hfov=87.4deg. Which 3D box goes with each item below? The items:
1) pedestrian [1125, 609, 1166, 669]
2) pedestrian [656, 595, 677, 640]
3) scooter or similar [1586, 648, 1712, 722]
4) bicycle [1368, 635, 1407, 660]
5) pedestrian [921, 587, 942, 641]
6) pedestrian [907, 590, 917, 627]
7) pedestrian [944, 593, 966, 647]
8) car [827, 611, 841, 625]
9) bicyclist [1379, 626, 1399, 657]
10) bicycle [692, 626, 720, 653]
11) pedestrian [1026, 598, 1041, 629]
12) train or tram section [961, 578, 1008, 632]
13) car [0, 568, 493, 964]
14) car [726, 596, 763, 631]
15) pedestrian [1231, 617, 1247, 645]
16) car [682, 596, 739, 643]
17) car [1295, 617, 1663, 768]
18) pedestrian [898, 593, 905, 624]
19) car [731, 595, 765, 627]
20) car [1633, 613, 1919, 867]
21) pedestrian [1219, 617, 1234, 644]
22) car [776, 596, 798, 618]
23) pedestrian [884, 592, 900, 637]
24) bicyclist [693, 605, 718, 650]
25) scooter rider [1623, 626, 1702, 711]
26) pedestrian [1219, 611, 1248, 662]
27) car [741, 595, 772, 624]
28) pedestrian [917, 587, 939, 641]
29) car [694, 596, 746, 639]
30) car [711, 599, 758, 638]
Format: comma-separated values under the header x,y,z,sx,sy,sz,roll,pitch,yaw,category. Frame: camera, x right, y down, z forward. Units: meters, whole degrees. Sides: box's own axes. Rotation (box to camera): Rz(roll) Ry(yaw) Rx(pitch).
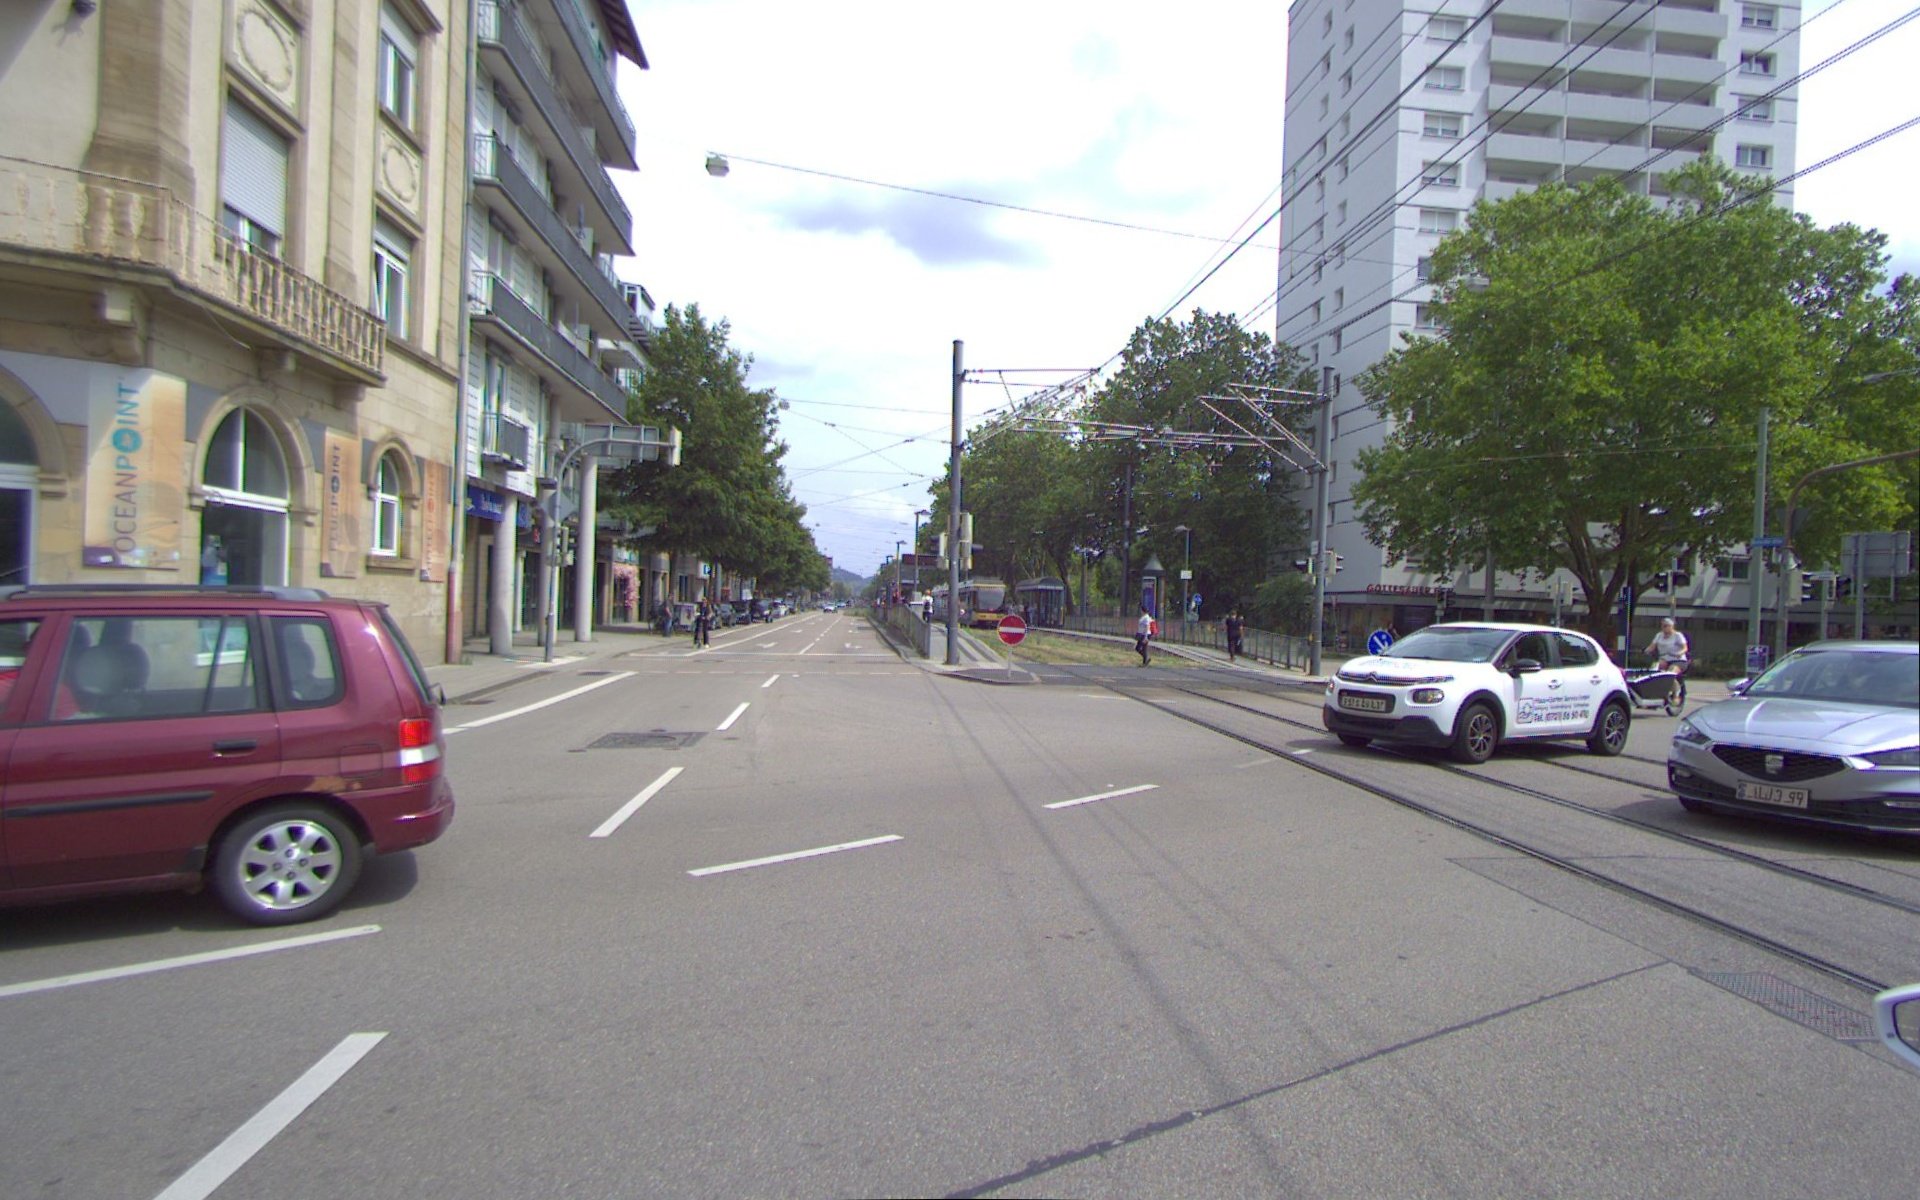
x,y,z,sx,sy,sz,roll,pitch,yaw,category
4.972,1.041,26.975,0.852,1.573,0.838,2,0,-7,pedestrian
-11.632,0.697,39.802,0.514,1.745,0.560,2,0,37,pedestrian
11.874,1.422,17.285,2.657,1.153,0.735,2,0,-31,scooter or similar
19.608,2.175,46.104,0.616,1.108,1.967,2,-2,-11,bicycle
-1.122,0.544,39.353,0.746,2.040,0.757,2,0,-6,pedestrian
-2.734,0.476,56.780,0.492,2.040,0.369,2,0,-7,pedestrian
-0.205,0.760,38.926,0.746,2.040,0.757,2,0,-6,pedestrian
-19.543,2.823,155.508,1.964,2.040,3.994,2,0,-9,car
19.643,1.898,45.948,0.483,1.360,0.751,2,-1,-12,bicyclist
-8.472,1.296,33.513,0.640,0.827,1.789,2,0,-6,bicycle
4.957,0.929,67.765,0.837,2.040,0.872,2,0,-8,pedestrian
1.606,0.463,69.309,2.322,3.358,7.512,2,-2,-5,train or tram section
-4.385,0.652,4.572,3.952,1.544,1.755,2,-2,-30,car
-13.239,0.813,61.854,1.964,2.040,3.994,2,0,-9,car
16.939,1.902,60.914,0.684,1.657,0.683,2,0,-9,pedestrian
-11.572,0.856,46.830,1.962,2.040,3.997,2,0,-5,car
6.096,0.980,11.717,4.188,1.450,1.727,2,0,-28,car
-3.670,0.532,63.487,0.320,1.980,0.311,2,0,-16,pedestrian
-14.186,0.737,67.444,1.964,2.040,3.994,2,0,-9,car
7.649,0.957,8.140,4.792,1.544,1.754,2,0,-31,car
16.364,1.886,61.606,0.684,1.645,0.505,2,0,-9,pedestrian
-16.633,0.668,96.827,1.964,2.040,3.994,2,0,-9,car
-3.525,0.761,52.303,0.746,2.280,0.757,2,0,-6,pedestrian
-8.438,0.894,33.327,0.629,1.463,0.999,2,0,-6,bicyclist
12.232,1.176,17.487,1.074,1.394,0.735,1,0,-31,scooter rider
8.578,1.129,31.512,0.657,1.573,0.598,2,0,-7,pedestrian
-15.118,0.695,74.753,1.964,2.040,3.994,2,0,-9,car
-1.222,0.531,38.431,0.746,2.040,0.757,2,0,-6,pedestrian
-12.156,0.842,51.101,1.962,2.040,3.997,2,0,-5,car
-12.437,0.967,55.675,1.962,2.040,3.997,2,0,-5,car
